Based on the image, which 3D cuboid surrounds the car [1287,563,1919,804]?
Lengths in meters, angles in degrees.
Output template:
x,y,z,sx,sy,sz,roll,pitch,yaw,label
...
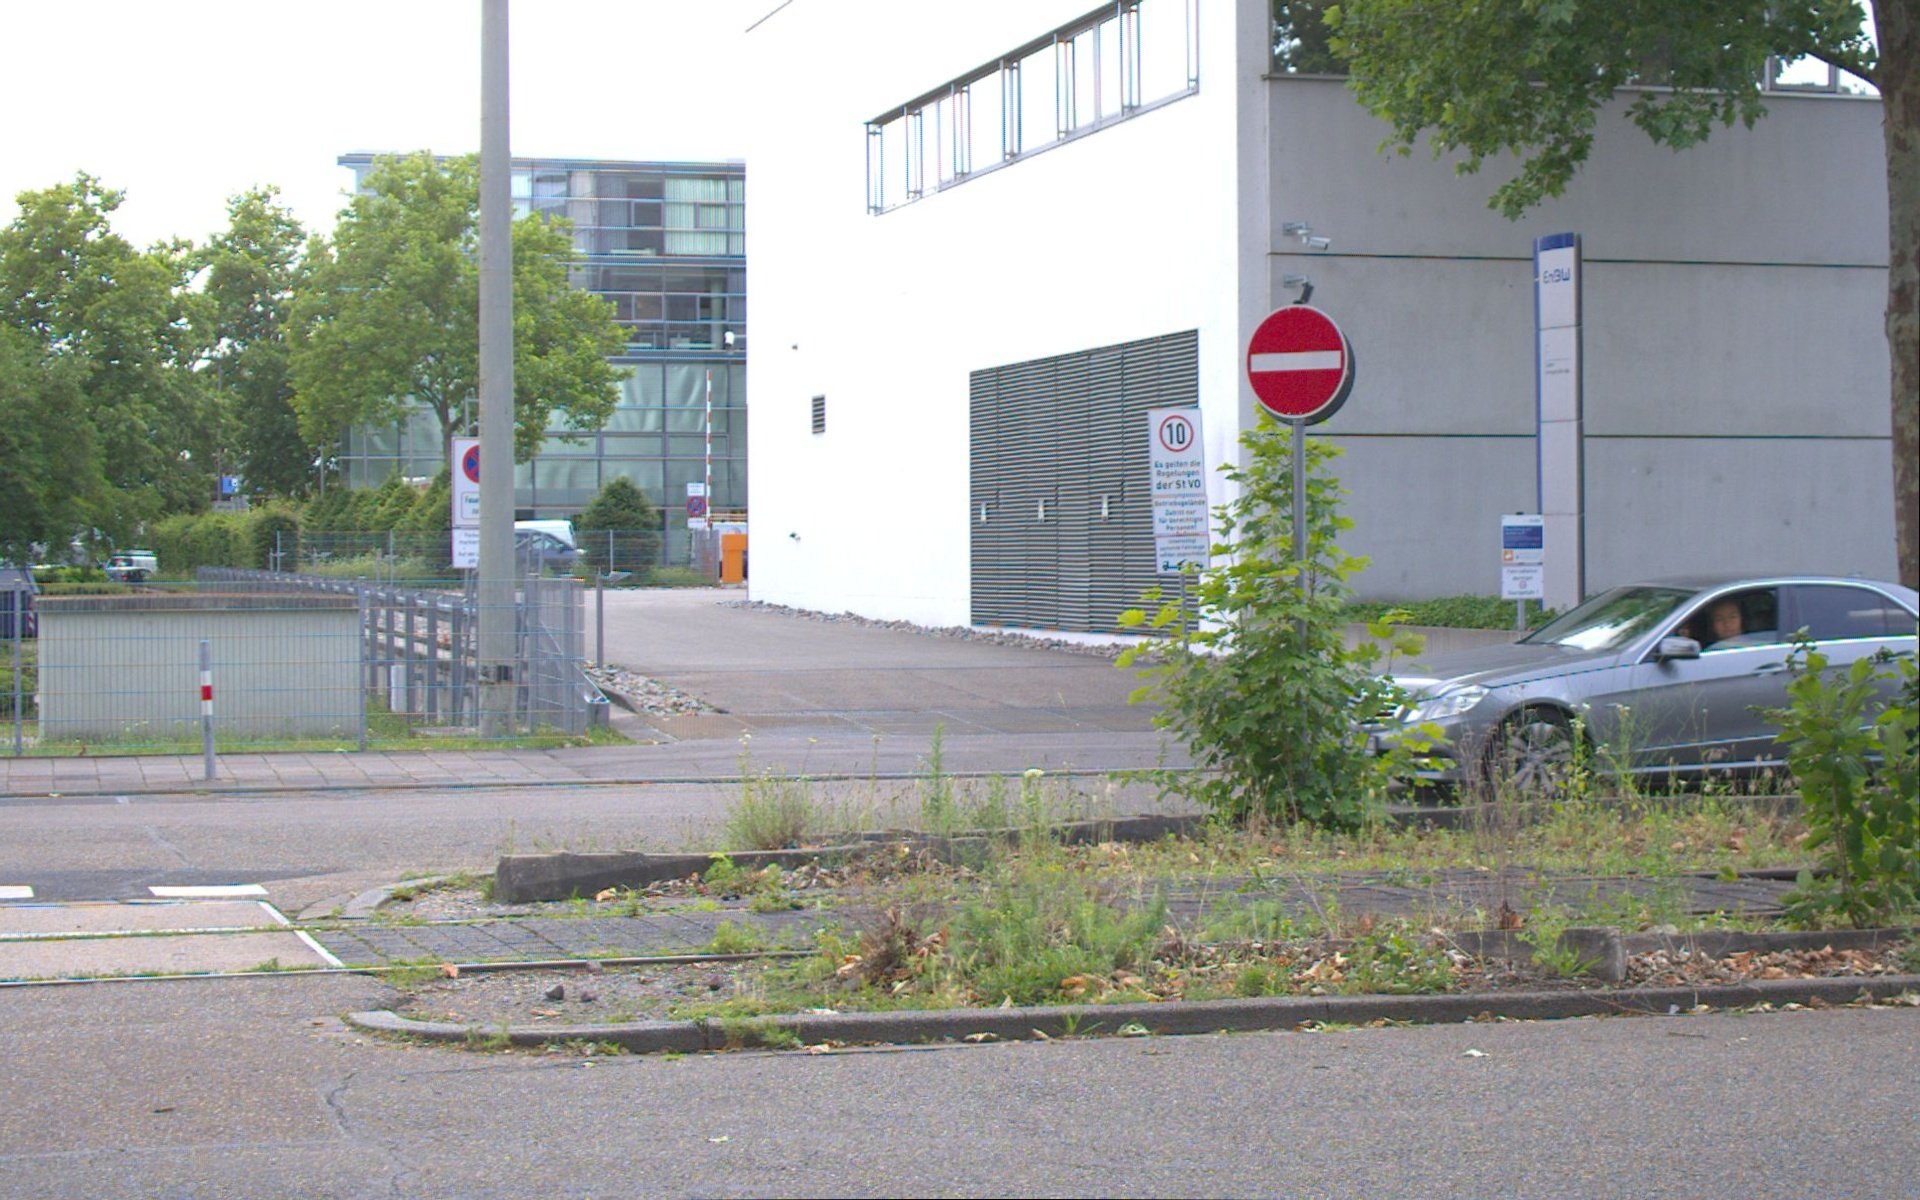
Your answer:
x,y,z,sx,sy,sz,roll,pitch,yaw,label
4.771,0.486,22.300,4.952,1.426,1.773,-1,1,-15,car
